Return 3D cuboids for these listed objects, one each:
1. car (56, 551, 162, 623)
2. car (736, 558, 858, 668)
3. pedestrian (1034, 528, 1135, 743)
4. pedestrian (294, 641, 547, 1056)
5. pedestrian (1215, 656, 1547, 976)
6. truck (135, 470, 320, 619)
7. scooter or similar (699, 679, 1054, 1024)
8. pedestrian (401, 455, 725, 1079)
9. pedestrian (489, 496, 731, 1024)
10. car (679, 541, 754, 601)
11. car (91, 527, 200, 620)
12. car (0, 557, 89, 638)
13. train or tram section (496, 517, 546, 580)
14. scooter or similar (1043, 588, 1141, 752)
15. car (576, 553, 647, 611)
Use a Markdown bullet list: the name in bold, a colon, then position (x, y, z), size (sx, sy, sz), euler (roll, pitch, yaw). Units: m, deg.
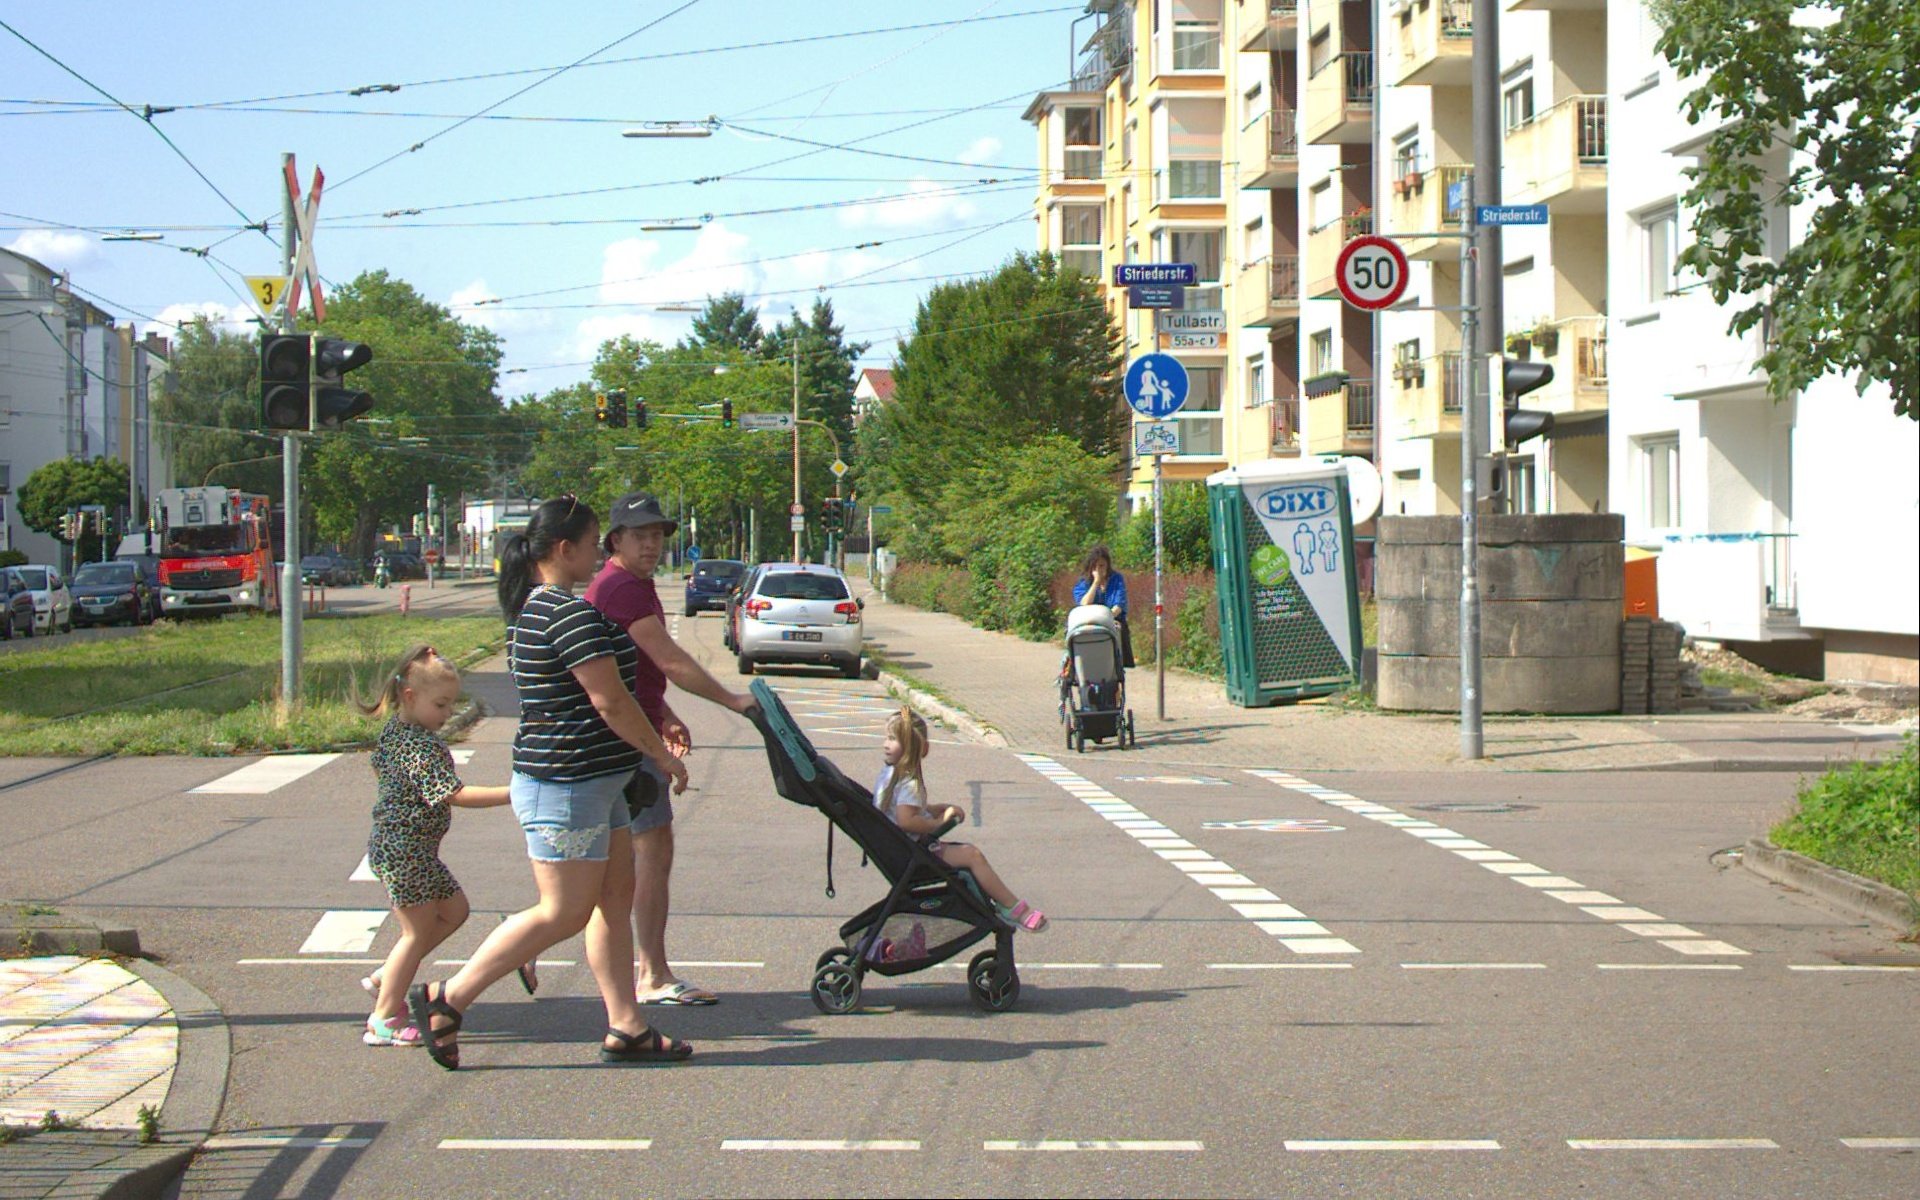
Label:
- **car**: position (-21.063, -0.340, 85.218), size (1.909, 1.705, 4.001), euler (1, 0, -5)
- **car**: position (-2.291, 0.163, 48.277), size (1.622, 1.460, 3.511), euler (1, 0, -3)
- **pedestrian**: position (1.072, 0.290, 29.689), size (0.701, 1.783, 1.030), euler (-3, 1, -2)
- **pedestrian**: position (-1.604, 0.722, 10.317), size (0.636, 1.176, 0.799), euler (-1, 0, -1)
- **pedestrian**: position (2.966, 1.476, 25.014), size (1.993, 2.007, 4.000), euler (1, 0, 2)
- **truck**: position (-18.231, -1.349, 86.197), size (2.666, 3.459, 10.169), euler (1, 0, -2)
- **scooter or similar**: position (-0.282, 0.802, 11.167), size (1.100, 1.052, 0.650), euler (1, 0, -3)
- **pedestrian**: position (-1.109, 0.442, 9.638), size (0.845, 1.662, 0.799), euler (-1, 0, -6)
- **pedestrian**: position (-1.127, 0.503, 11.128), size (0.705, 1.642, 0.637), euler (2, 0, -5)
- **car**: position (-6.330, -0.756, 89.752), size (1.744, 1.502, 4.000), euler (1, 0, -2)
- **car**: position (-21.580, -0.706, 91.295), size (1.967, 2.362, 5.202), euler (1, 0, -4)
- **car**: position (-20.466, -0.069, 75.339), size (1.993, 1.705, 4.001), euler (1, 0, -4)
- **train or tram section**: position (-21.916, -2.594, 172.009), size (2.258, 3.058, 8.135), euler (-1, 1, -6)
- **scooter or similar**: position (1.101, 0.577, 28.824), size (0.662, 1.299, 0.868), euler (-4, 1, -4)
- **car**: position (-9.395, -0.492, 92.918), size (1.743, 1.502, 4.001), euler (1, 0, -4)
